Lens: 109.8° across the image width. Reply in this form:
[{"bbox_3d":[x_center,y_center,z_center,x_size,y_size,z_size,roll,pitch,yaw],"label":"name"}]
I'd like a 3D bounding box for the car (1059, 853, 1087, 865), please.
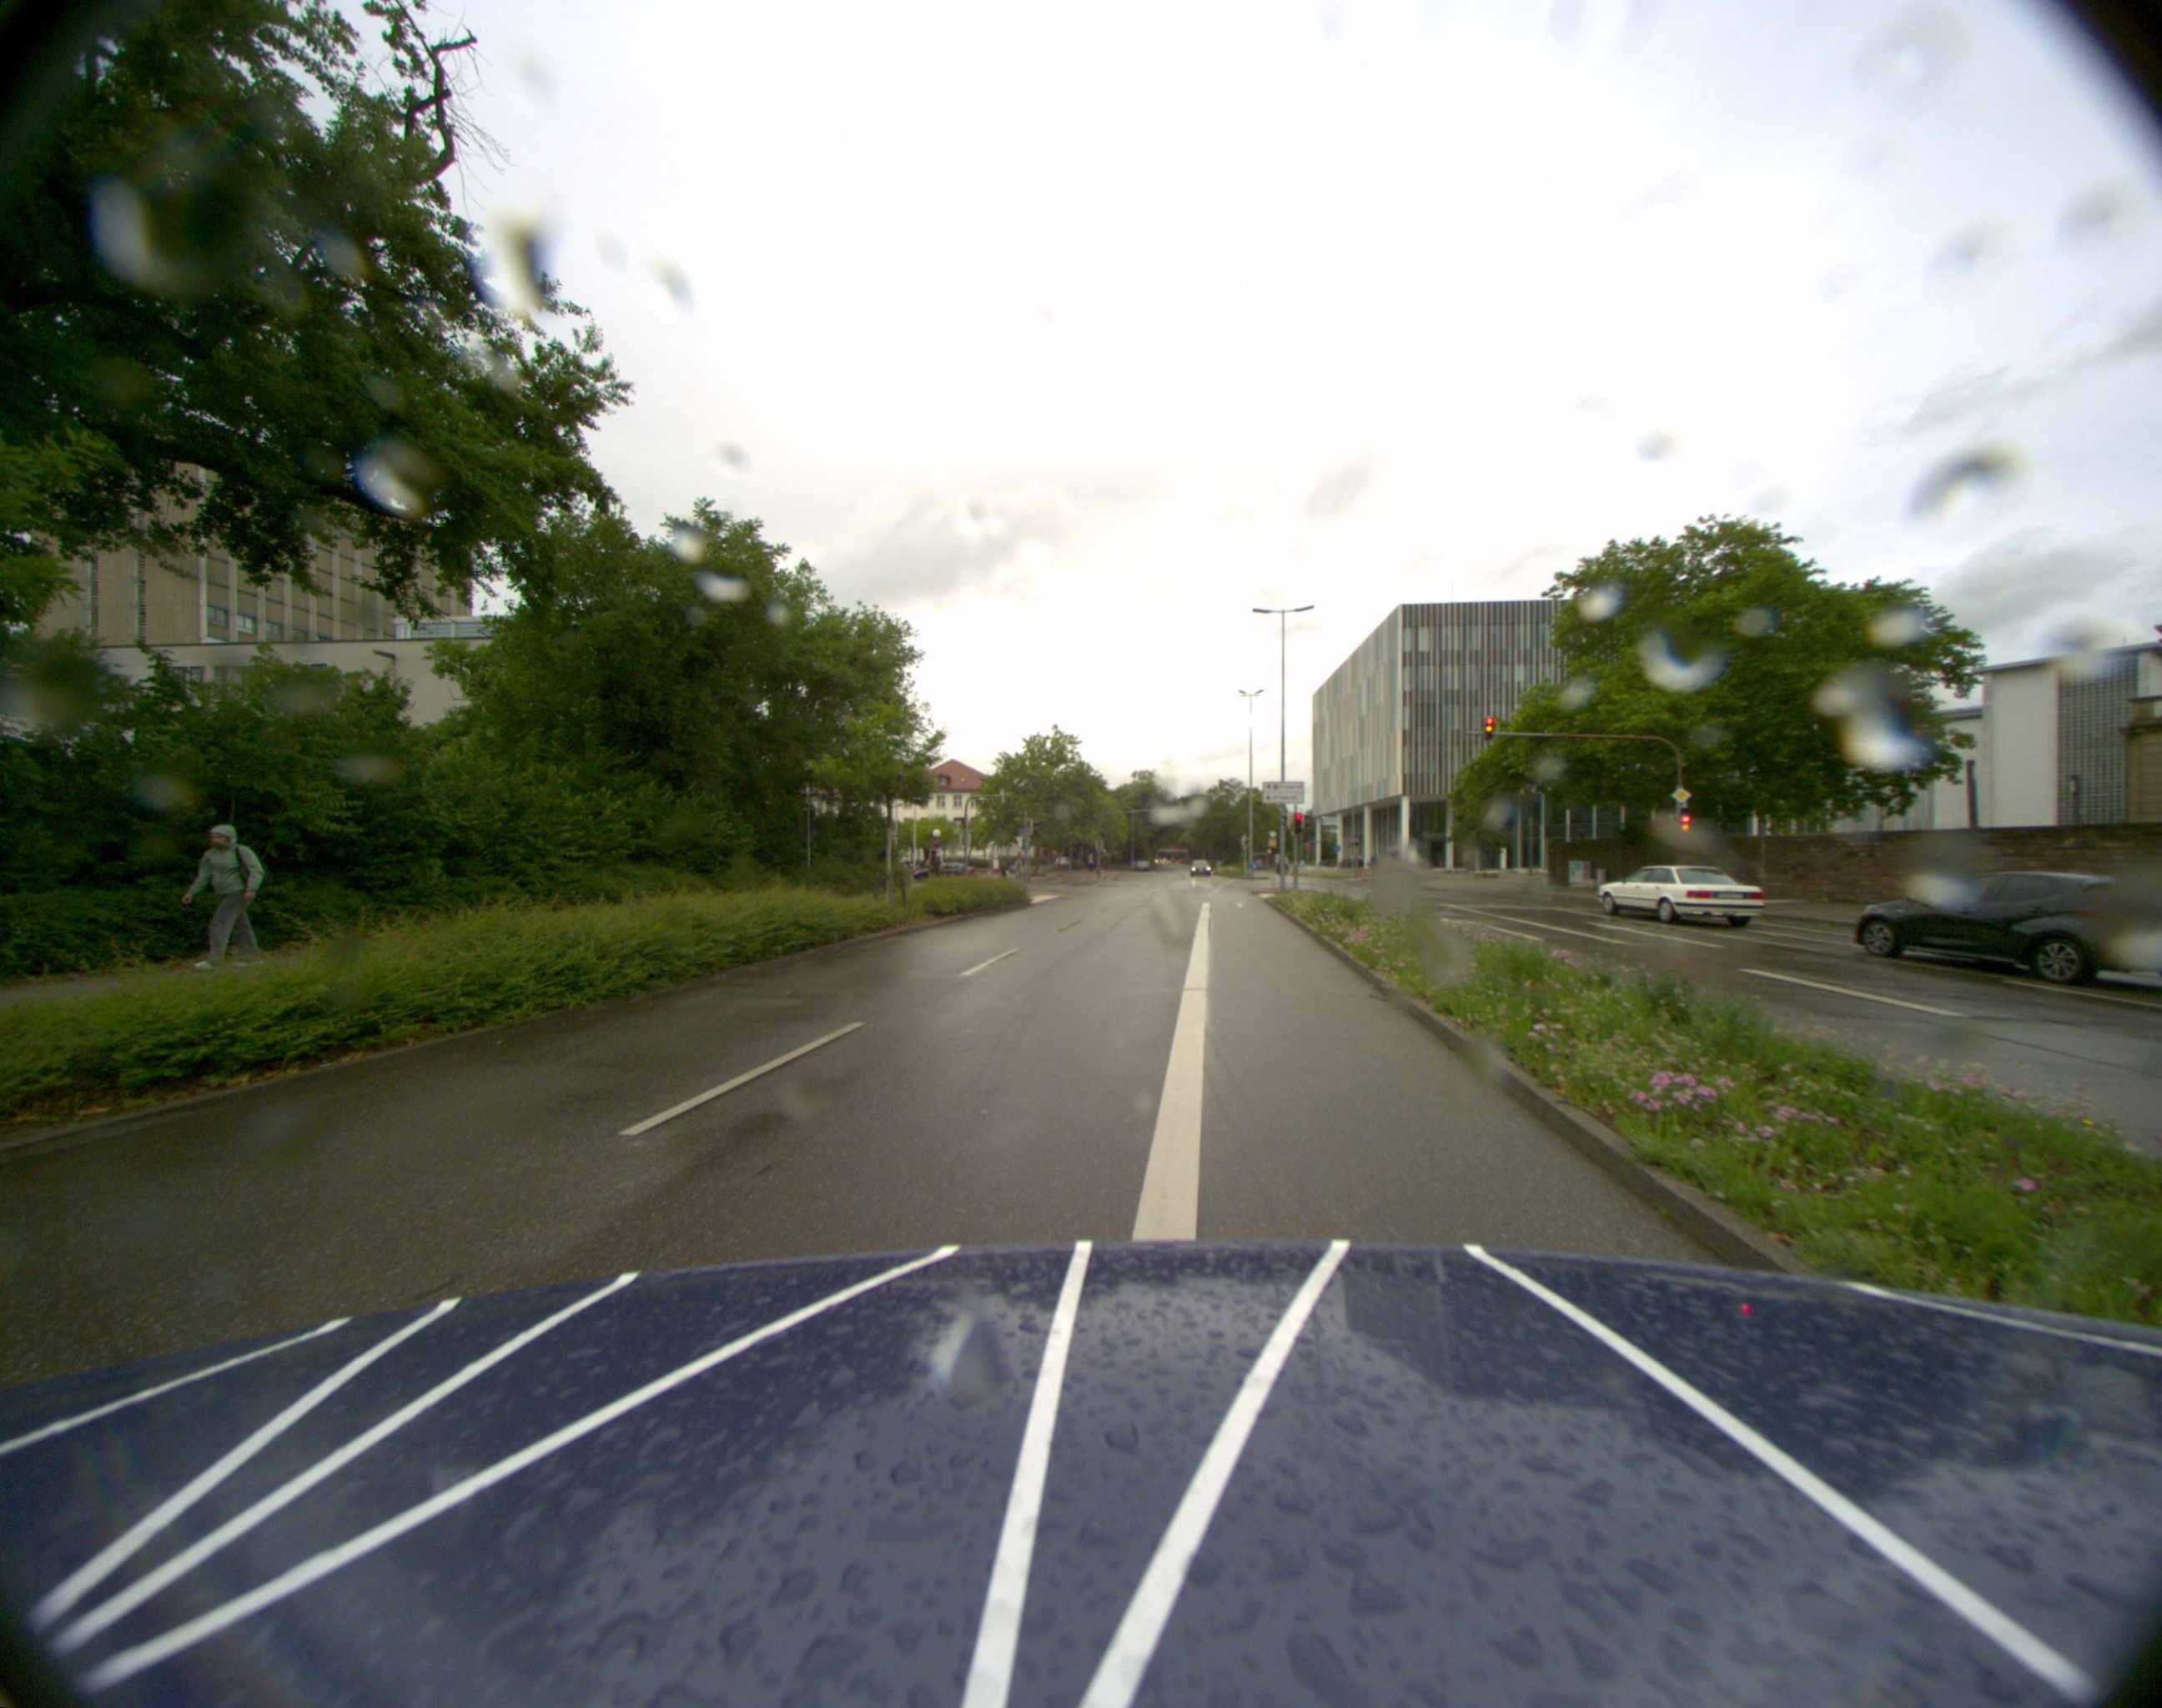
[{"bbox_3d":[-1.222,0.836,119.328,4.423,1.862,1.638,0,0,0],"label":"car"}]

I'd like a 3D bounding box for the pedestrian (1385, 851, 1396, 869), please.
[{"bbox_3d":[30.755,0.595,75.525,0.787,1.813,0.624,0,0,-15],"label":"pedestrian"}]

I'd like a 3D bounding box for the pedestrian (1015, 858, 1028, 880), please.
[{"bbox_3d":[-4.342,1.092,55.502,0.878,1.597,0.862,0,0,-14],"label":"pedestrian"}]

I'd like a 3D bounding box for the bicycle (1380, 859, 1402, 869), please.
[{"bbox_3d":[36.487,1.163,89.405,2.285,1.215,0.598,0,0,-4],"label":"bicycle"}]

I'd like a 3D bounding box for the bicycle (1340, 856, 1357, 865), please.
[{"bbox_3d":[36.932,0.870,104.880,2.281,1.215,0.600,0,0,18],"label":"bicycle"}]

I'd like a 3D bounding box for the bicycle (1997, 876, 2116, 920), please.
[{"bbox_3d":[24.010,1.067,18.752,0.733,0.977,1.701,-1,0,-2],"label":"bicycle"}]

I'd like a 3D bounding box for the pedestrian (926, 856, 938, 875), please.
[{"bbox_3d":[-14.061,1.058,71.524,0.850,1.728,1.121,0,0,-24],"label":"pedestrian"}]

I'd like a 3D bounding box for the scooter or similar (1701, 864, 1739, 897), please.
[{"bbox_3d":[24.030,0.980,28.593,0.392,1.191,1.142,-7,0,2],"label":"scooter or similar"}]

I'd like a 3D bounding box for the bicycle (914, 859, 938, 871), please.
[{"bbox_3d":[-15.939,1.139,78.104,2.285,1.215,0.598,0,0,-4],"label":"bicycle"}]

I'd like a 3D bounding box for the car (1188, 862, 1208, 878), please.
[{"bbox_3d":[10.910,1.488,70.886,1.659,1.356,4.109,0,0,7],"label":"car"}]

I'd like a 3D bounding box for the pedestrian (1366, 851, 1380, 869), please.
[{"bbox_3d":[29.751,0.653,77.521,0.940,1.813,0.922,0,0,-22],"label":"pedestrian"}]

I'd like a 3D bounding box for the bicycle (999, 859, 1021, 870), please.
[{"bbox_3d":[-7.544,1.115,80.310,2.285,1.215,0.598,0,0,-4],"label":"bicycle"}]

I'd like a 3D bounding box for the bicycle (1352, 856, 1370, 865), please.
[{"bbox_3d":[36.813,0.844,99.929,2.281,1.215,0.600,0,0,18],"label":"bicycle"}]

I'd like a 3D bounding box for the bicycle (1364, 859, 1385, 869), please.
[{"bbox_3d":[35.798,1.168,92.648,2.285,1.215,0.598,0,0,-4],"label":"bicycle"}]

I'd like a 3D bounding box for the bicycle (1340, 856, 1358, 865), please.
[{"bbox_3d":[36.686,0.859,104.080,2.281,1.215,0.600,0,0,18],"label":"bicycle"}]

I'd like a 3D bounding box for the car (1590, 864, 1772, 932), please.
[{"bbox_3d":[14.931,1.007,19.265,1.598,1.407,4.527,1,0,9],"label":"car"}]

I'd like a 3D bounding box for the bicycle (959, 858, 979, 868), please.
[{"bbox_3d":[-13.585,1.132,92.113,2.285,1.215,0.598,0,0,-4],"label":"bicycle"}]

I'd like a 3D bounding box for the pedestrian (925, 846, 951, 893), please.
[{"bbox_3d":[-5.752,0.625,30.692,0.730,1.848,0.851,0,0,15],"label":"pedestrian"}]

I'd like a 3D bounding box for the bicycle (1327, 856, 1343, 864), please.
[{"bbox_3d":[38.246,0.887,114.235,2.281,1.215,0.600,0,0,18],"label":"bicycle"}]

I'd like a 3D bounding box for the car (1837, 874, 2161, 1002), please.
[{"bbox_3d":[13.547,1.066,10.979,1.626,1.407,4.069,1,0,9],"label":"car"}]

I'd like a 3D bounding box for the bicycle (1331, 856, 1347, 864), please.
[{"bbox_3d":[38.383,0.868,112.928,2.281,1.215,0.600,0,0,18],"label":"bicycle"}]

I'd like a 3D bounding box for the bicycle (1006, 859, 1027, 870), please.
[{"bbox_3d":[-7.171,1.123,84.373,2.285,1.215,0.598,0,0,-4],"label":"bicycle"}]

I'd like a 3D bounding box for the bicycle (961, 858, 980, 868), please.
[{"bbox_3d":[-13.543,1.134,93.124,2.285,1.215,0.598,0,0,-4],"label":"bicycle"}]

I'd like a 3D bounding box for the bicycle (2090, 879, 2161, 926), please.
[{"bbox_3d":[23.737,1.063,16.745,0.733,0.977,1.701,-1,0,-2],"label":"bicycle"}]

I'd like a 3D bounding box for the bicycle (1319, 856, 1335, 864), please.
[{"bbox_3d":[37.824,0.875,116.835,2.281,1.215,0.600,0,0,18],"label":"bicycle"}]

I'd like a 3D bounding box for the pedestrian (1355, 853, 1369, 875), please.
[{"bbox_3d":[23.038,0.839,62.275,0.787,1.813,0.795,0,0,-15],"label":"pedestrian"}]

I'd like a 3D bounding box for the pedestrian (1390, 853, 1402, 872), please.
[{"bbox_3d":[30.549,0.856,73.689,0.787,1.813,0.624,0,0,-15],"label":"pedestrian"}]

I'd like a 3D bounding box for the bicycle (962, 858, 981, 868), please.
[{"bbox_3d":[-13.555,1.136,94.207,2.285,1.215,0.598,0,0,-4],"label":"bicycle"}]

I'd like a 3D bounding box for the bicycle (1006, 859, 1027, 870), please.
[{"bbox_3d":[-7.188,1.124,85.115,2.285,1.215,0.598,0,0,-4],"label":"bicycle"}]

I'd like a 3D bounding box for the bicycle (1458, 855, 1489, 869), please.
[{"bbox_3d":[33.196,0.677,64.266,2.285,1.215,0.598,0,0,-4],"label":"bicycle"}]

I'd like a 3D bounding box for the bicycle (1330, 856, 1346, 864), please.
[{"bbox_3d":[38.028,0.867,112.344,2.281,1.215,0.600,0,0,18],"label":"bicycle"}]

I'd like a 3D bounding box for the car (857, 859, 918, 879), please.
[{"bbox_3d":[-14.299,1.128,56.230,4.011,1.371,1.773,0,3,7],"label":"car"}]

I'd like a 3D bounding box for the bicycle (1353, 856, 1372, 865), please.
[{"bbox_3d":[36.688,0.842,98.975,2.281,1.215,0.600,0,0,18],"label":"bicycle"}]

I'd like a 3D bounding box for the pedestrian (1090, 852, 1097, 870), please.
[{"bbox_3d":[1.275,0.723,75.646,0.624,1.813,0.786,0,0,-6],"label":"pedestrian"}]

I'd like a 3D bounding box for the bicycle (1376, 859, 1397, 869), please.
[{"bbox_3d":[36.244,1.164,90.060,2.285,1.215,0.598,0,0,-4],"label":"bicycle"}]

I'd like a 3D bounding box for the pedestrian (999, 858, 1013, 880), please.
[{"bbox_3d":[-5.486,1.088,55.462,0.878,1.597,0.862,0,0,-20],"label":"pedestrian"}]

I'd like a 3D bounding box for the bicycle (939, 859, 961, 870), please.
[{"bbox_3d":[-14.234,1.114,82.391,2.285,1.215,0.598,0,0,-4],"label":"bicycle"}]

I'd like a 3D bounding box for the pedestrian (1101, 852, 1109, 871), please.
[{"bbox_3d":[2.376,0.754,75.820,0.625,1.813,0.786,0,0,-14],"label":"pedestrian"}]

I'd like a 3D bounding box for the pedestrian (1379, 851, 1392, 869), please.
[{"bbox_3d":[30.825,0.652,76.911,0.940,1.813,0.922,0,0,-15],"label":"pedestrian"}]

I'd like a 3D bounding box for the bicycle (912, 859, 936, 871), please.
[{"bbox_3d":[-15.992,1.136,77.404,2.285,1.215,0.598,0,0,-4],"label":"bicycle"}]

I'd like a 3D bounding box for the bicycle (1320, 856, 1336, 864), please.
[{"bbox_3d":[37.744,0.873,115.953,2.281,1.215,0.600,0,0,18],"label":"bicycle"}]

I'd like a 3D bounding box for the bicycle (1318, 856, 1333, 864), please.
[{"bbox_3d":[38.402,0.880,119.318,2.281,1.215,0.600,0,0,18],"label":"bicycle"}]

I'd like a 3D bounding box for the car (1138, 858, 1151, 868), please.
[{"bbox_3d":[8.753,1.205,104.225,1.659,1.259,4.109,0,0,7],"label":"car"}]

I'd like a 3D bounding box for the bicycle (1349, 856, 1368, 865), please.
[{"bbox_3d":[36.876,0.846,100.966,2.281,1.215,0.600,0,0,18],"label":"bicycle"}]

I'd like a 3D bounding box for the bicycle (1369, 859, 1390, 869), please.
[{"bbox_3d":[35.916,1.166,91.525,2.285,1.215,0.598,0,0,-4],"label":"bicycle"}]

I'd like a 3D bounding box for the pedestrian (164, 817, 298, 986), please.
[{"bbox_3d":[-10.596,0.569,9.495,0.791,2.002,0.830,0,0,15],"label":"pedestrian"}]

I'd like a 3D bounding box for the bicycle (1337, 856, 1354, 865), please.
[{"bbox_3d":[37.129,0.873,106.635,2.281,1.215,0.600,0,0,18],"label":"bicycle"}]

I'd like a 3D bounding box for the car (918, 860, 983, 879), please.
[{"bbox_3d":[-9.533,1.127,55.836,4.385,1.330,1.773,0,3,5],"label":"car"}]

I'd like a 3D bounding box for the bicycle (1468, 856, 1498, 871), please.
[{"bbox_3d":[33.466,0.805,63.237,2.285,1.215,0.598,0,0,-4],"label":"bicycle"}]
